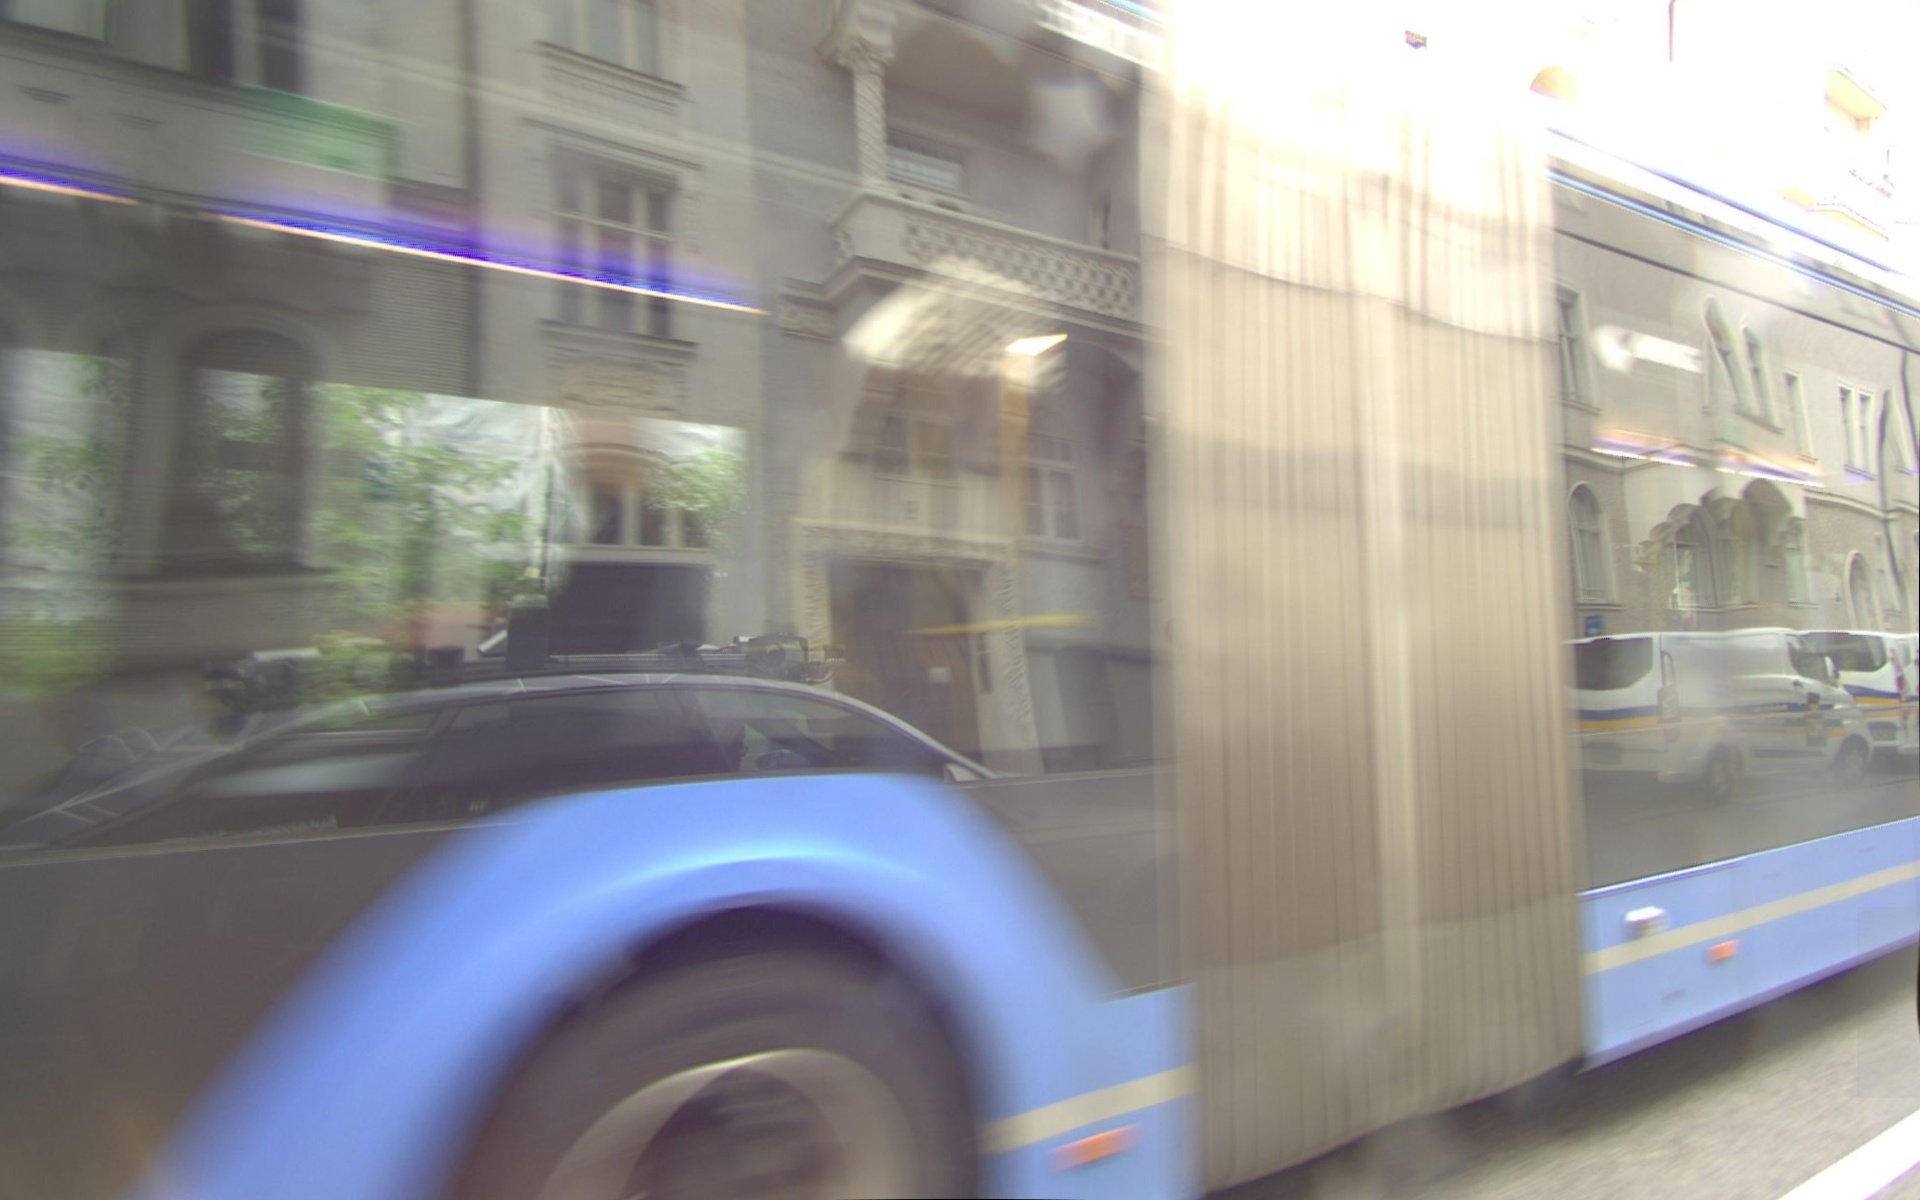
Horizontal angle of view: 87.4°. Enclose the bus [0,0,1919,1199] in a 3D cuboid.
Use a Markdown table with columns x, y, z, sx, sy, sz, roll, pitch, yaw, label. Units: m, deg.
| x | y | z | sx | sy | sz | roll | pitch | yaw | label |
| --- | --- | --- | --- | --- | --- | --- | --- | --- | --- |
| 0.135 | -0.123 | 3.650 | 17.841 | 3.254 | 3.158 | 2 | -3 | -30 | bus |
